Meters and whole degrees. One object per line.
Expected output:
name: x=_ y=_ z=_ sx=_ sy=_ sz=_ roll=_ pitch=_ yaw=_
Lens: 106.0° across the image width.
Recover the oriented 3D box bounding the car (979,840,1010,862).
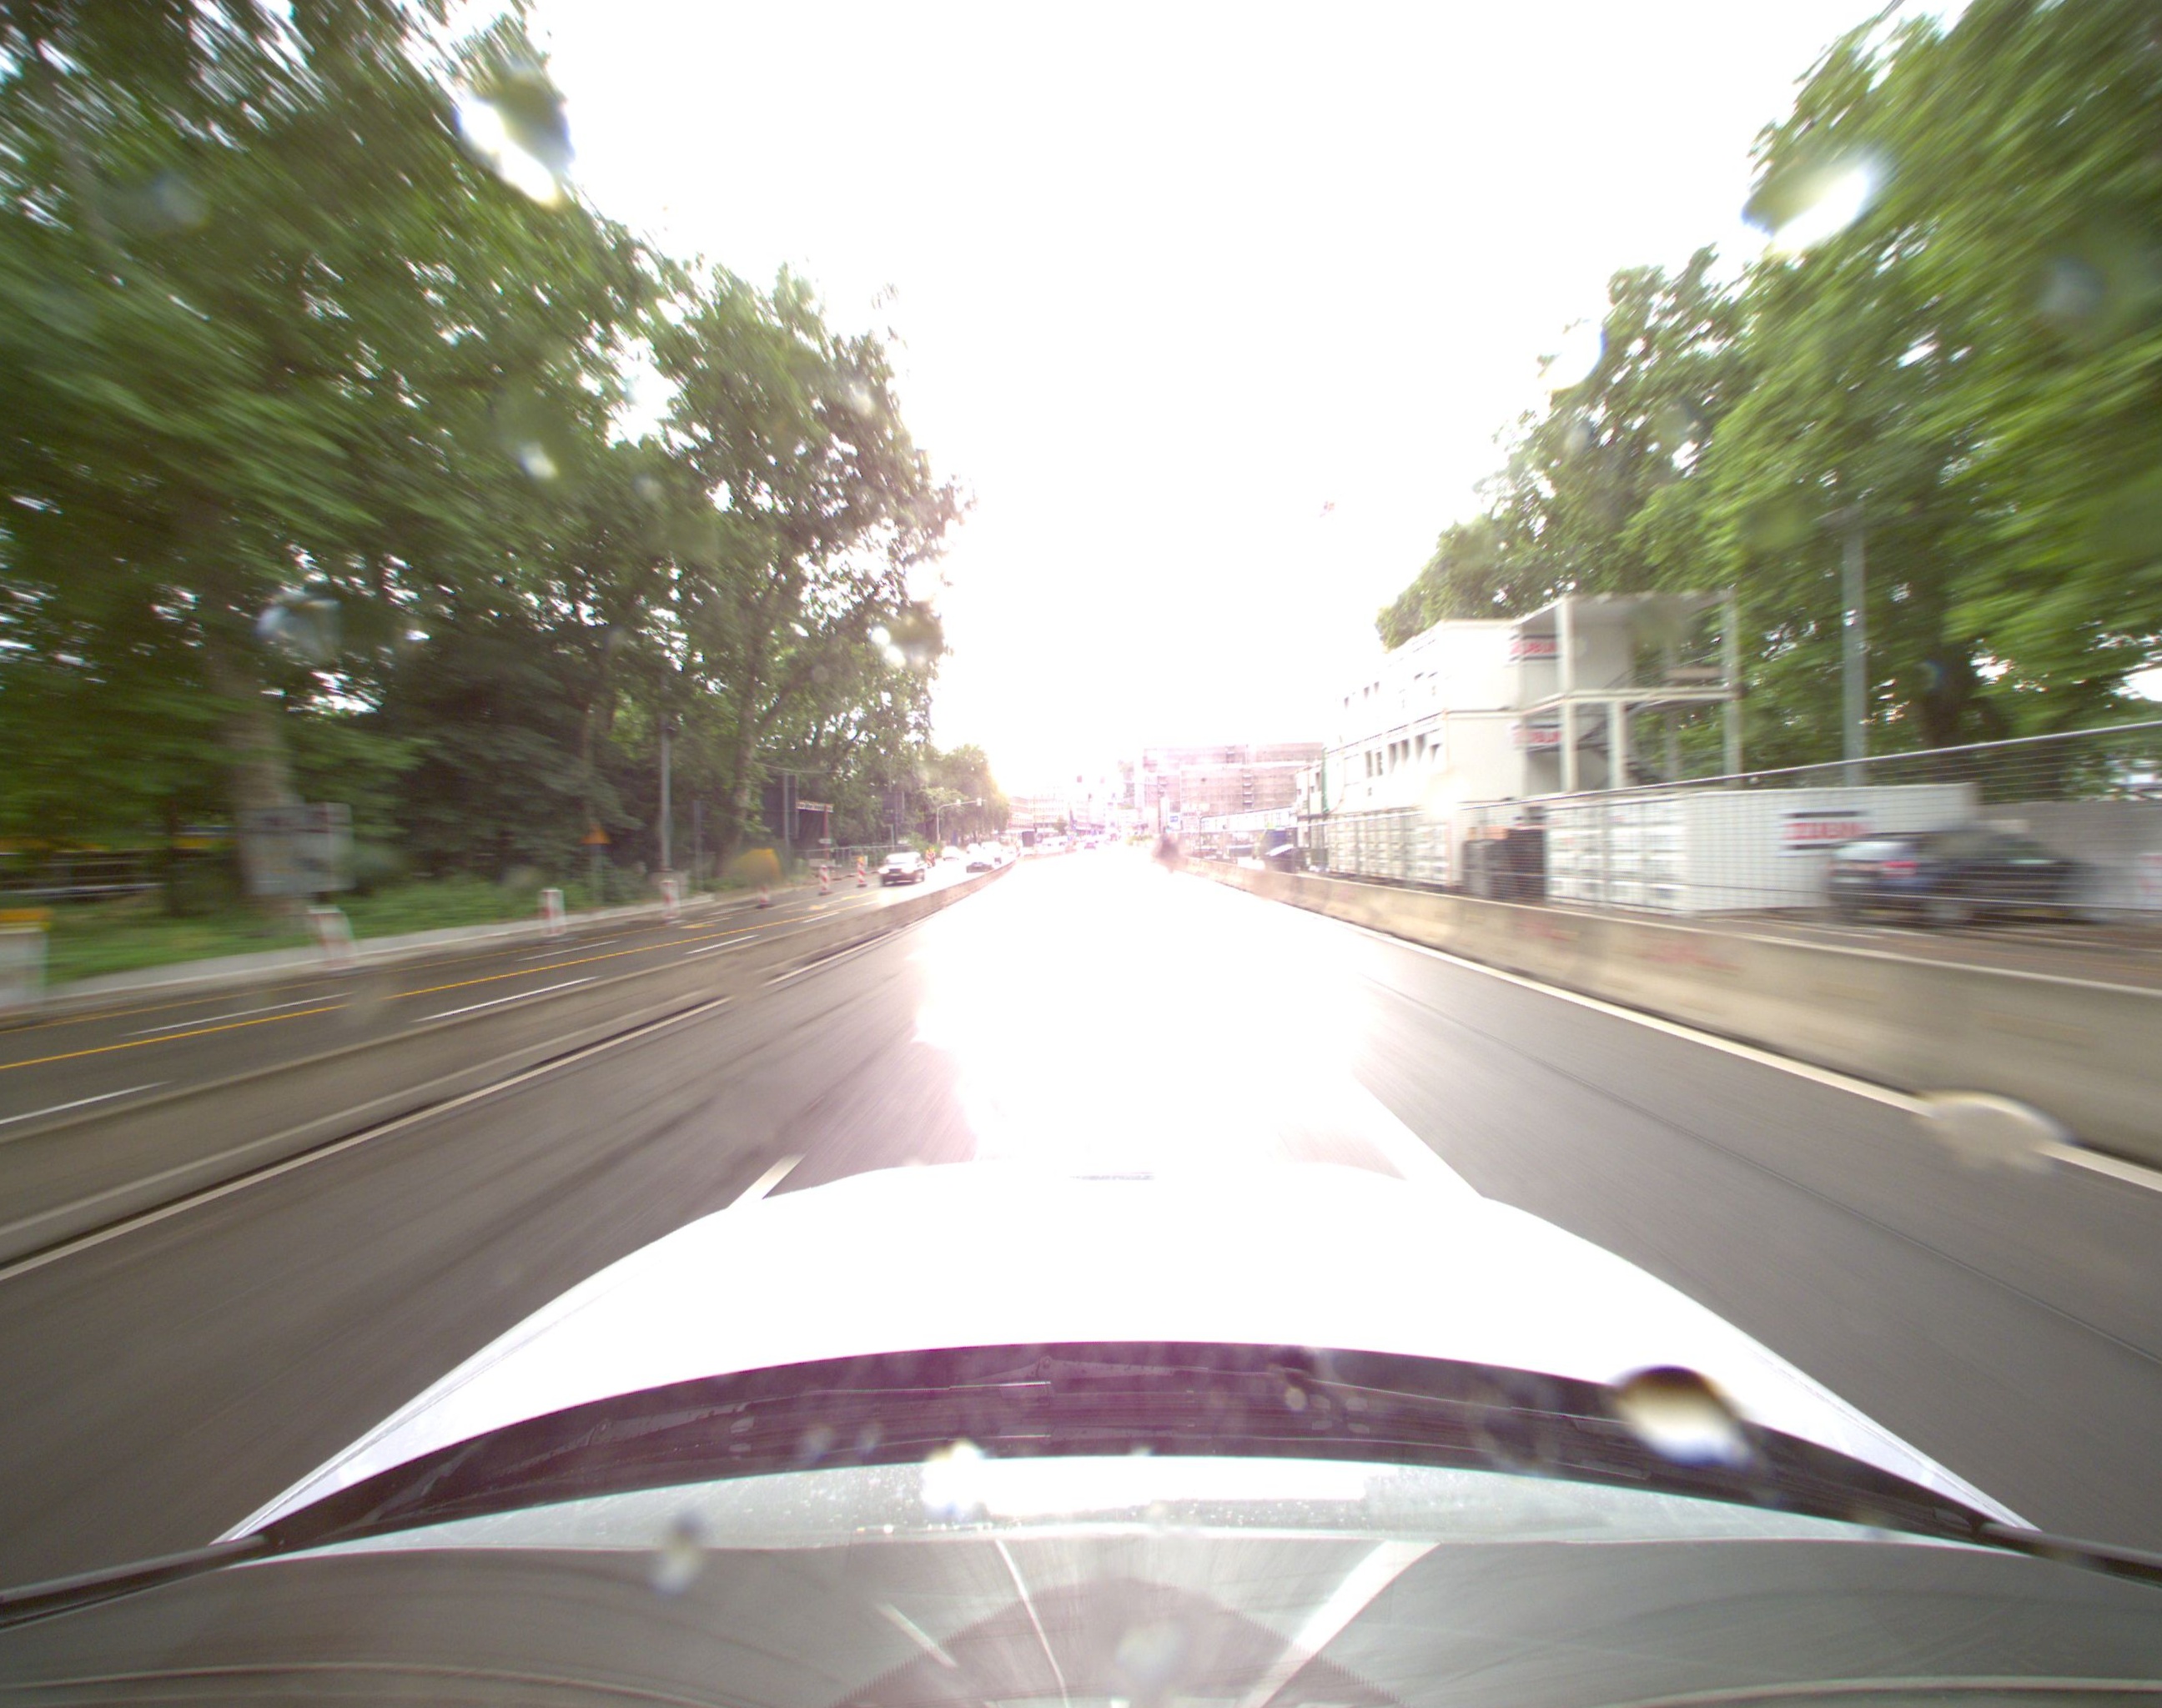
car: x=-7.396 y=-0.245 z=69.770 sx=2.024 sy=1.653 sz=4.910 roll=-4 pitch=0 yaw=0

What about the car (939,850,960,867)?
car: x=-14.674 y=0.516 z=91.203 sx=1.872 sy=1.706 sz=3.994 roll=-3 pitch=-1 yaw=-4

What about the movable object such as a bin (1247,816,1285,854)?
movable object such as a bin: x=14.204 y=-1.515 z=62.740 sx=1.804 sy=2.809 sz=3.860 roll=-1 pitch=2 yaw=-5

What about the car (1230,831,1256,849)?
car: x=17.966 y=-1.605 z=90.308 sx=1.840 sy=1.806 sz=5.086 roll=-1 pitch=2 yaw=0

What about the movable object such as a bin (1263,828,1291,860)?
movable object such as a bin: x=14.155 y=-0.729 z=58.863 sx=1.463 sy=2.202 sz=1.255 roll=-2 pitch=2 yaw=-23

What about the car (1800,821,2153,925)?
car: x=15.942 y=0.297 z=14.660 sx=4.530 sy=1.628 sz=1.787 roll=-2 pitch=1 yaw=-2

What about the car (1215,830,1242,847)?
car: x=17.396 y=-1.832 z=96.257 sx=1.909 sy=1.975 sz=5.154 roll=-1 pitch=1 yaw=-5

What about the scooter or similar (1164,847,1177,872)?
scooter or similar: x=4.852 y=0.270 z=44.350 sx=0.595 sy=1.319 sz=1.669 roll=-1 pitch=1 yaw=3

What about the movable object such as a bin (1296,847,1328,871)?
movable object such as a bin: x=11.950 y=0.270 z=42.176 sx=1.243 sy=1.123 sz=1.239 roll=-3 pitch=-1 yaw=-1

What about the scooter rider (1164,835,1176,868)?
scooter rider: x=4.837 y=-0.144 z=44.328 sx=0.595 sy=1.785 sz=0.998 roll=-1 pitch=1 yaw=3

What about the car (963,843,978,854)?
car: x=-17.620 y=-0.918 z=130.239 sx=1.990 sy=1.541 sz=4.438 roll=-3 pitch=-1 yaw=-4

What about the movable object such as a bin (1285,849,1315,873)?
movable object such as a bin: x=12.125 y=0.400 z=45.181 sx=1.243 sy=1.237 sz=1.239 roll=-3 pitch=-1 yaw=-1

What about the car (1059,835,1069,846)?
car: x=-3.624 y=-2.735 z=169.943 sx=1.897 sy=2.082 sz=4.173 roll=-3 pitch=-1 yaw=-2

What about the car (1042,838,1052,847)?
car: x=-7.105 y=-2.324 z=169.219 sx=1.897 sy=1.528 sz=4.173 roll=-3 pitch=-1 yaw=-2

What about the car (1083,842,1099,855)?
car: x=1.362 y=-0.762 z=112.047 sx=1.897 sy=1.528 sz=4.173 roll=-3 pitch=-1 yaw=-2

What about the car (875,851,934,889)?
car: x=-9.116 y=0.783 z=42.411 sx=2.023 sy=1.653 sz=4.320 roll=-2 pitch=1 yaw=1

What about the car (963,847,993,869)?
car: x=-6.811 y=0.267 z=54.386 sx=1.709 sy=1.339 sz=4.055 roll=-4 pitch=0 yaw=-5

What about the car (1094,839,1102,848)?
car: x=4.262 y=-2.705 z=204.797 sx=1.986 sy=2.014 sz=4.001 roll=-4 pitch=-1 yaw=2
